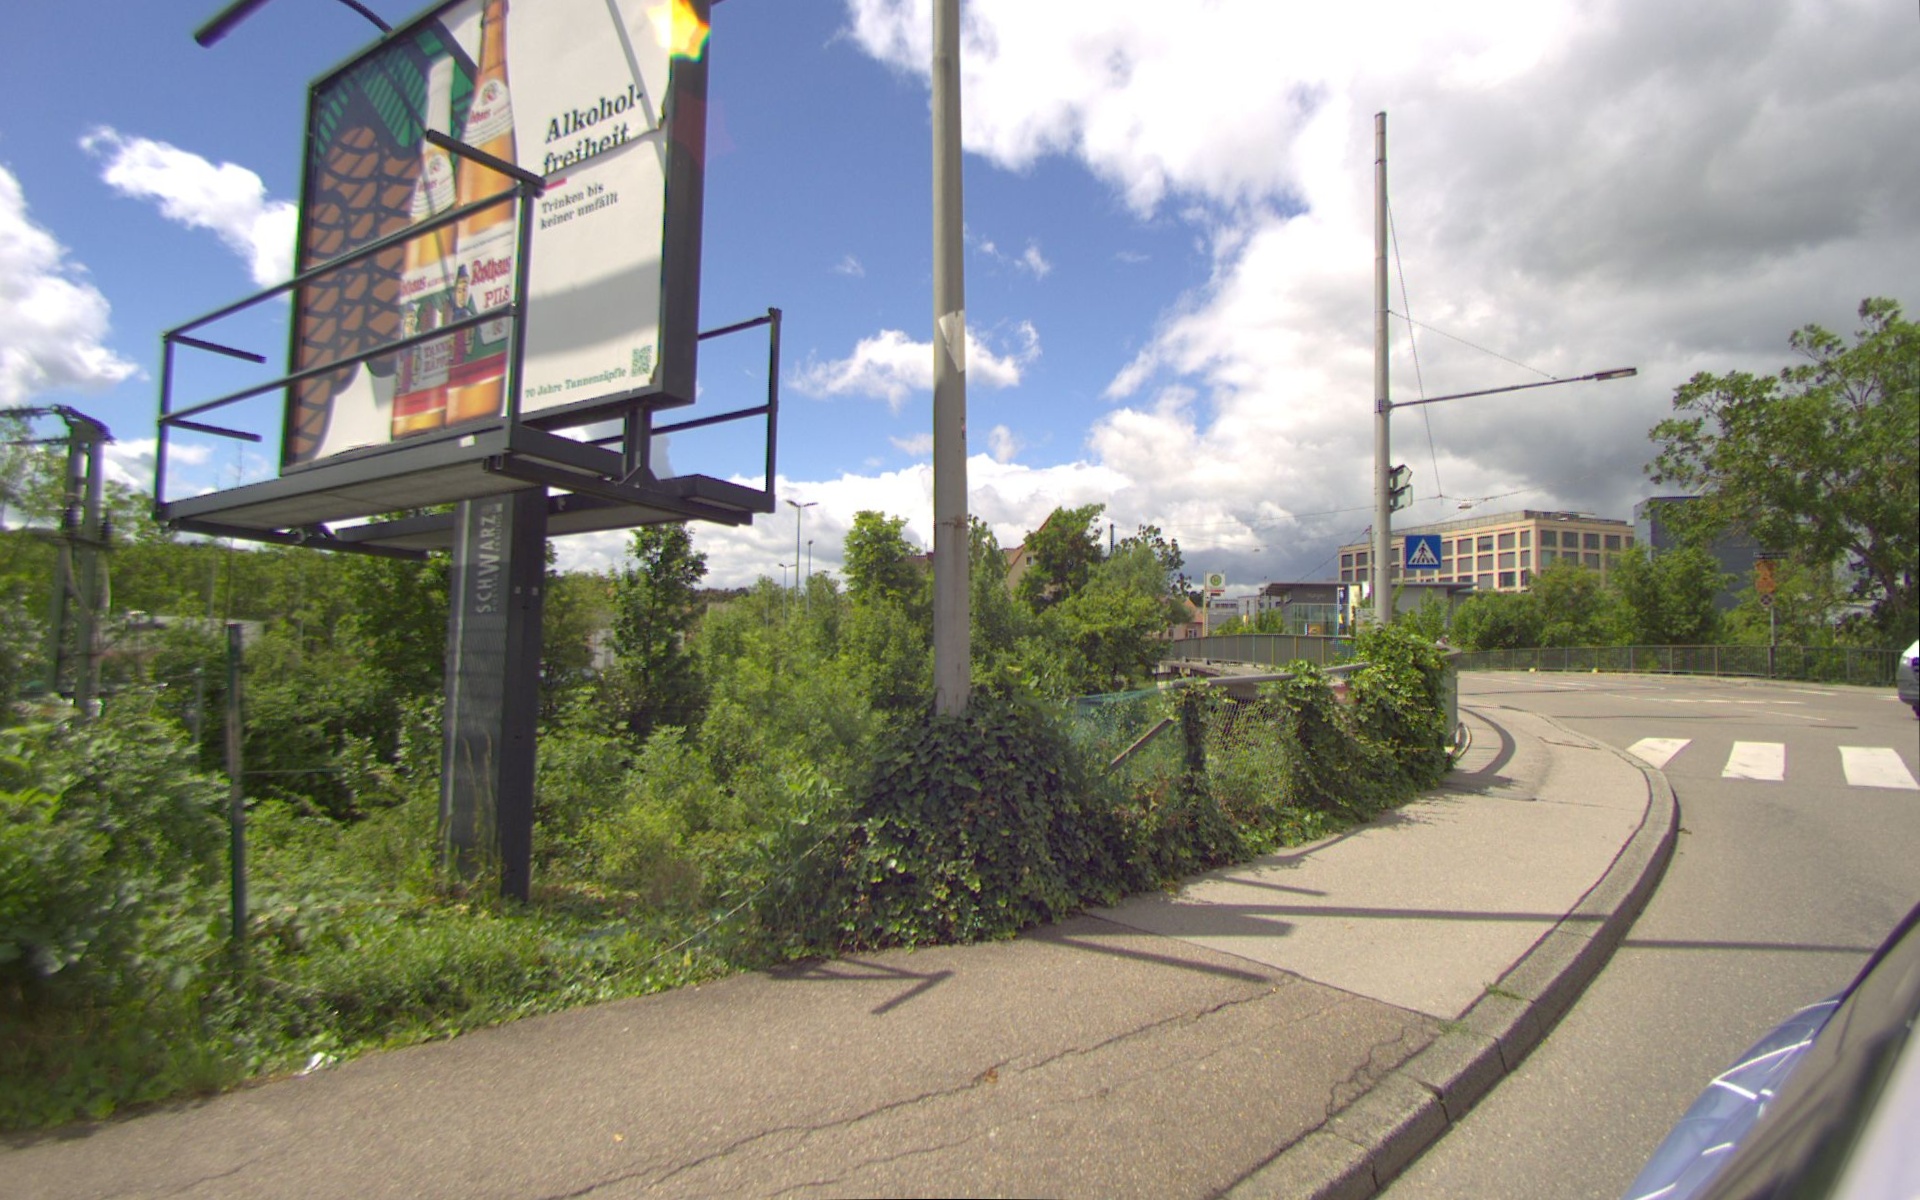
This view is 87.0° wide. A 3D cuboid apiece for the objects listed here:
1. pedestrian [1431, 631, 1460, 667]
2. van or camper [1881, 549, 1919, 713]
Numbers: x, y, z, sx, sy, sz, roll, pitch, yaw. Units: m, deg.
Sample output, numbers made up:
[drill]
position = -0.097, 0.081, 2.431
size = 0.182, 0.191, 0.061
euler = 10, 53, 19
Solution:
[pedestrian]
position = 25.319, 2.574, 52.805
size = 0.982, 1.862, 1.034
euler = -1, -5, 8
[van or camper]
position = 18.129, 0.580, 16.145
size = 5.804, 2.600, 2.198
euler = 2, -1, -14
